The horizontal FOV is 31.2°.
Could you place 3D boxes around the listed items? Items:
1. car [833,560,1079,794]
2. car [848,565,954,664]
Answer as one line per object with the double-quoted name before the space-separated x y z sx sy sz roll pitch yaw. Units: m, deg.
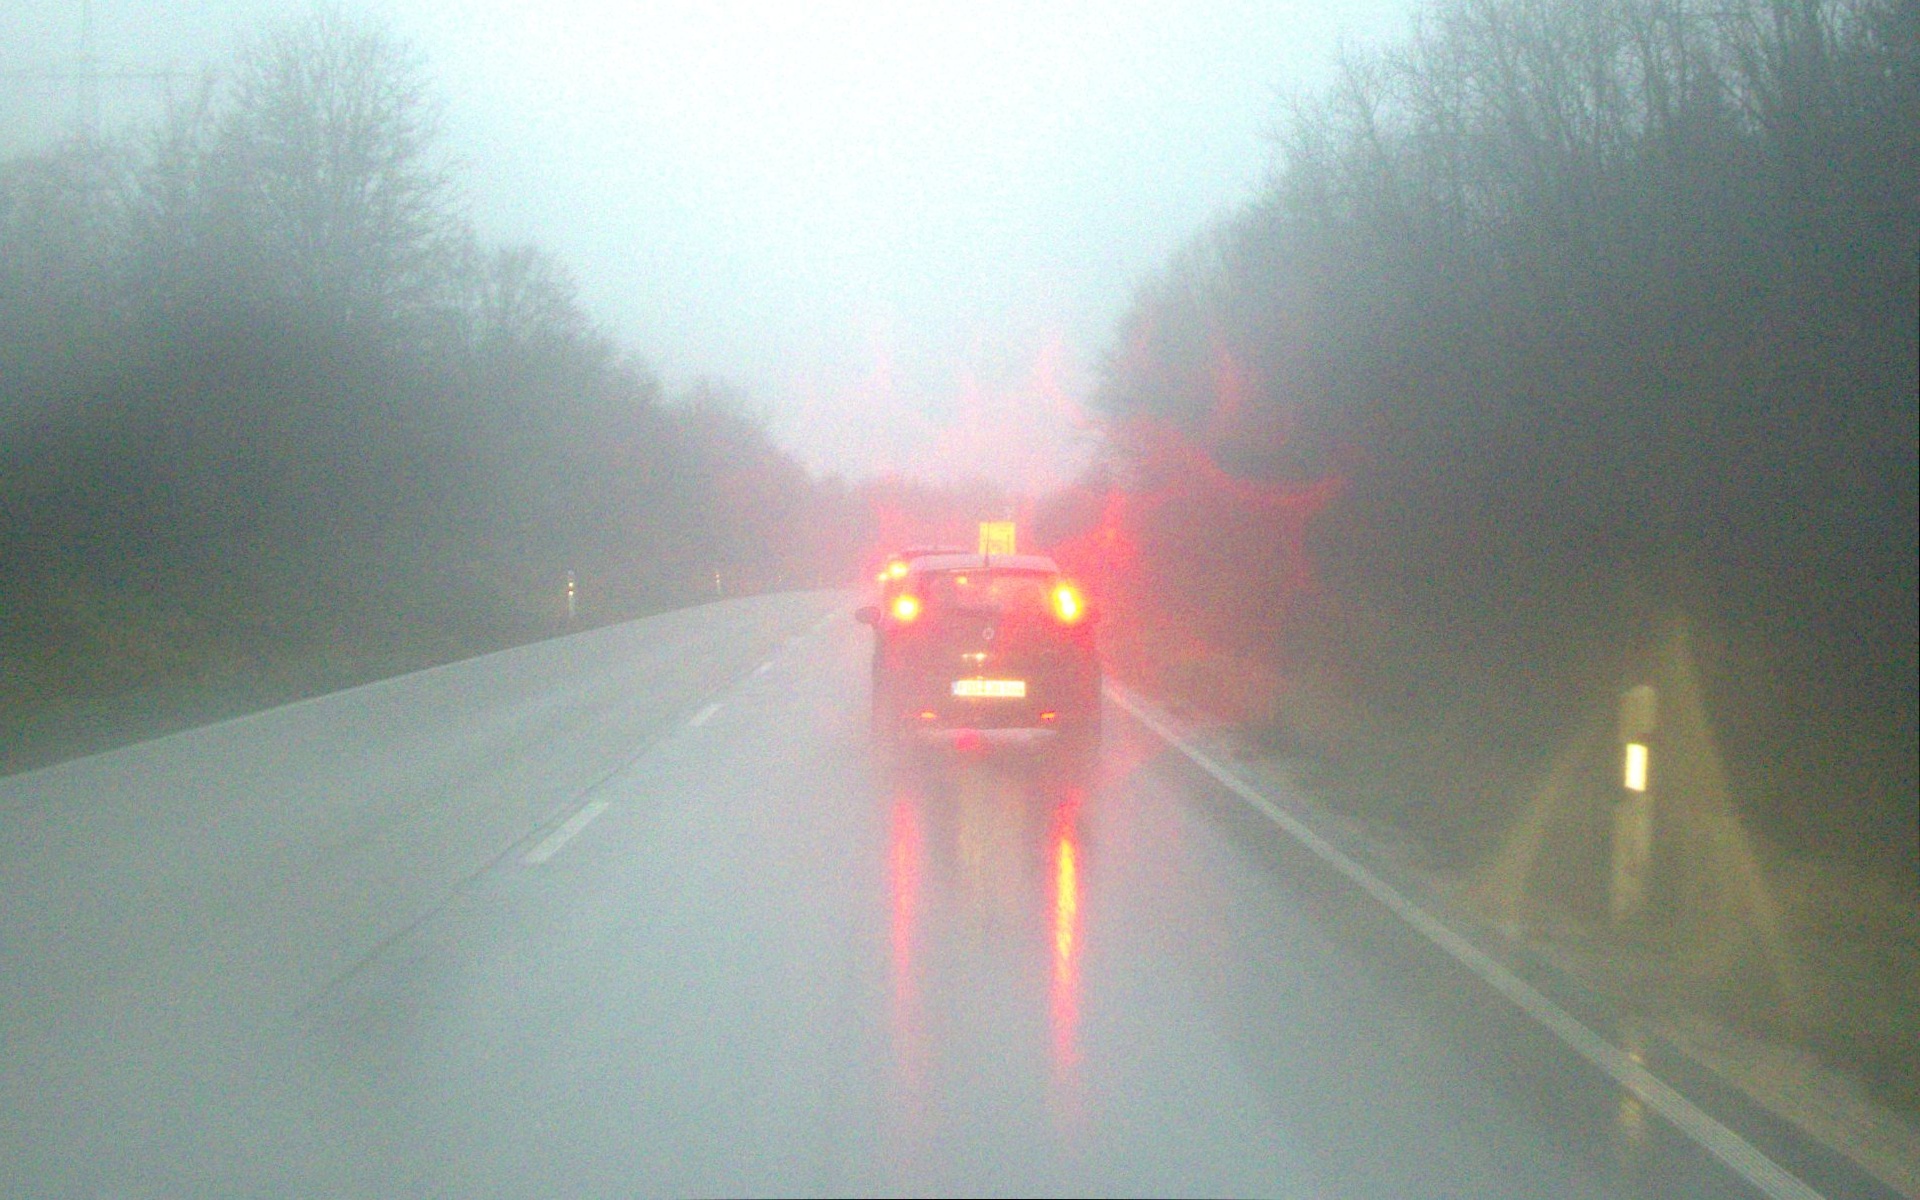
"car" -0.010 0.528 26.257 1.728 1.638 4.000 0 0 1
"car" -0.992 0.227 59.520 1.728 1.638 4.000 0 0 1
